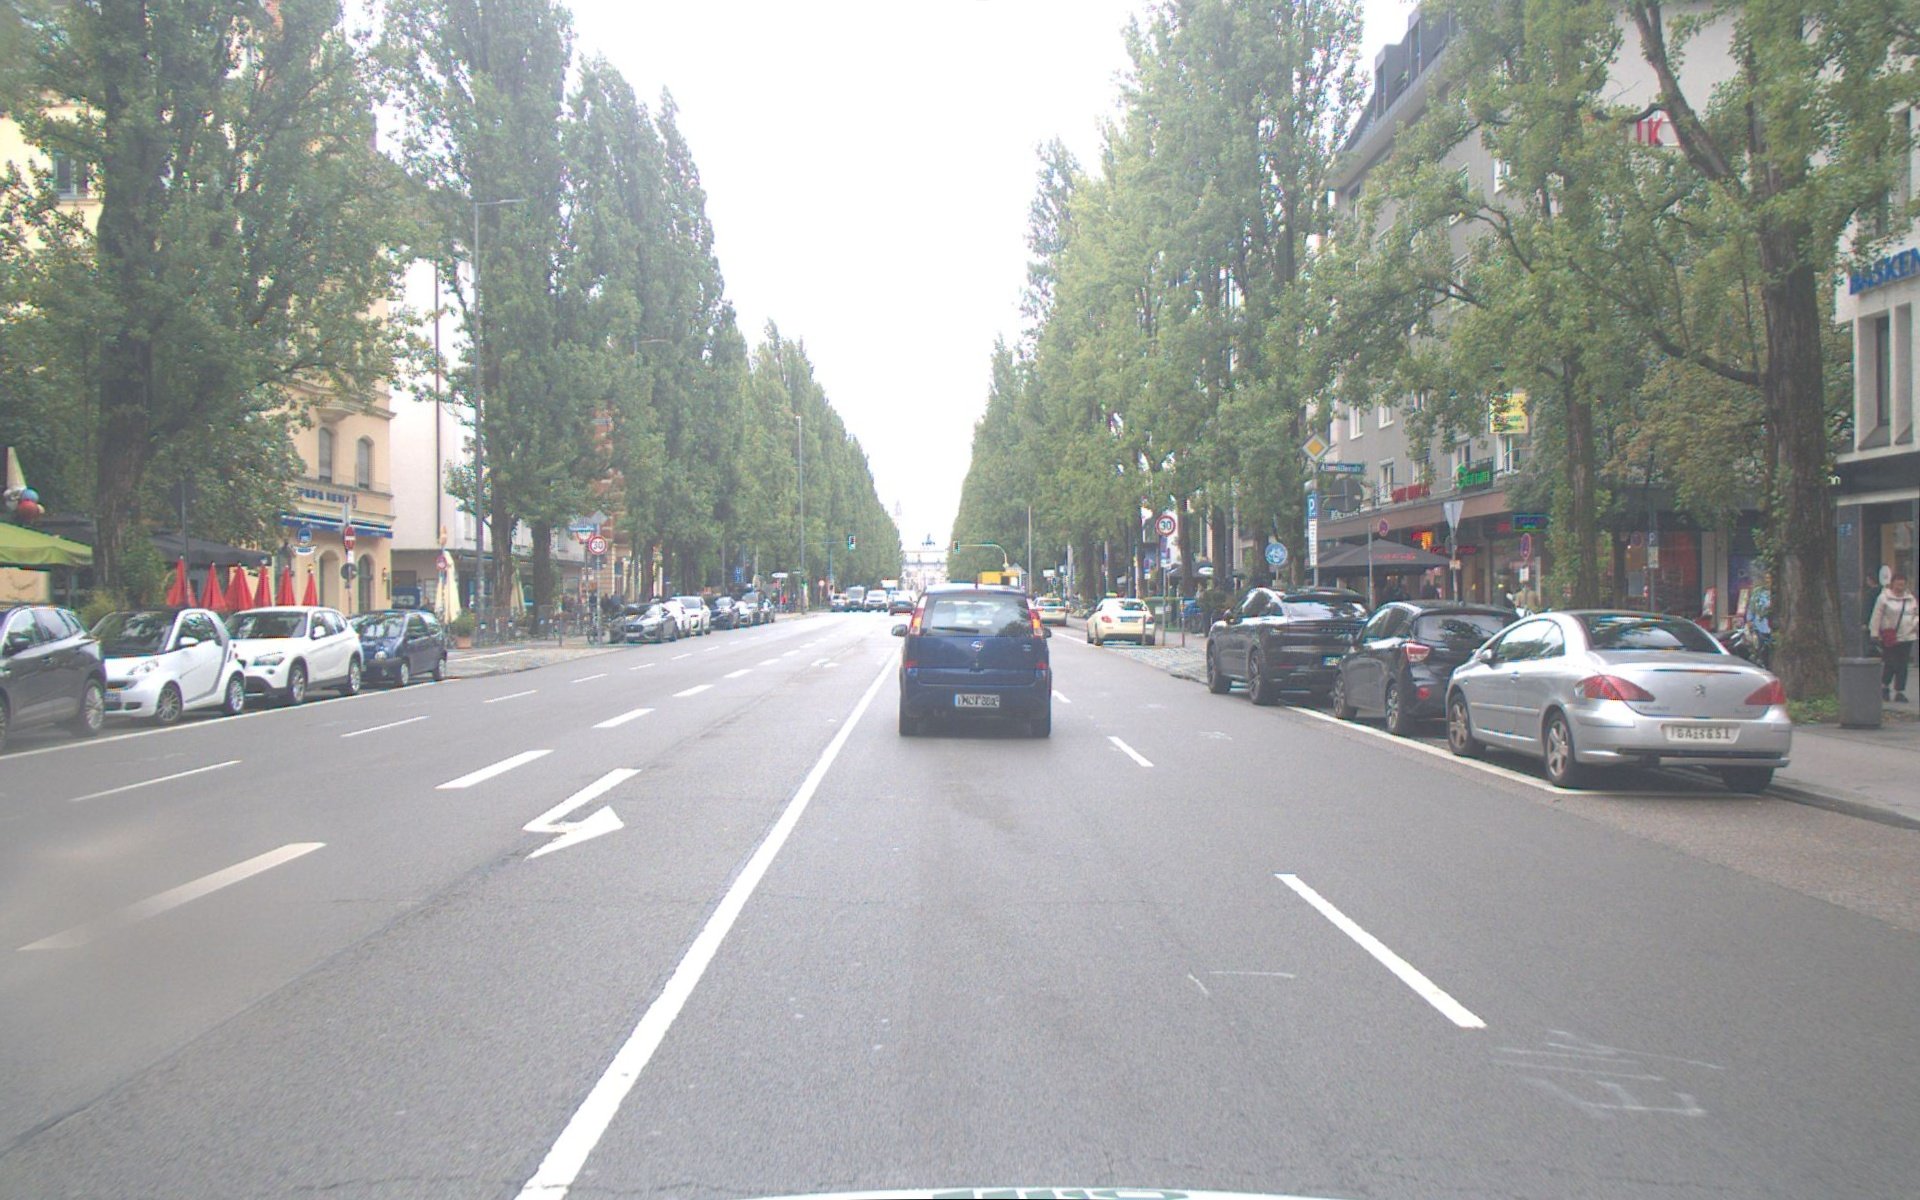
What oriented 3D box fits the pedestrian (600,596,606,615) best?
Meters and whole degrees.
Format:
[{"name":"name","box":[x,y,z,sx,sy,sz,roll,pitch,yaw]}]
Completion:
[{"name":"pedestrian","box":[-21.365,0.333,98.994,0.283,1.109,0.258,-1,0,4]}]

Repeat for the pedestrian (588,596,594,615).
[{"name":"pedestrian","box":[-22.077,0.325,98.946,0.283,1.109,0.258,-1,0,4]}]

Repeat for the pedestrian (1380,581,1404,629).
[{"name":"pedestrian","box":[13.933,0.157,53.400,0.627,1.553,0.484,-1,0,-1]}]

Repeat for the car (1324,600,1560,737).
[{"name":"car","box":[5.601,0.743,19.649,1.648,1.439,3.581,1,0,-2]}]

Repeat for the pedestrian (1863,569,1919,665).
[{"name":"pedestrian","box":[16.333,0.287,28.954,0.641,1.655,0.704,-1,0,-4]}]

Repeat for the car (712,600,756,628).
[{"name":"car","box":[-12.043,0.713,88.321,1.922,1.424,3.777,-1,0,-2]}]

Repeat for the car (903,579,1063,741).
[{"name":"car","box":[0.172,0.605,19.084,1.647,1.670,3.998,0,0,-2]}]

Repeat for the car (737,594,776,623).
[{"name":"car","box":[-12.193,0.485,99.163,1.953,1.691,3.999,-1,0,-2]}]

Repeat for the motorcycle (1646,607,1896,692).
[{"name":"motorcycle","box":[11.473,0.683,23.449,3.061,1.109,1.191,-1,0,-9]}]

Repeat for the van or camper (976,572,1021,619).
[{"name":"van or camper","box":[2.209,-0.259,96.841,2.426,2.626,5.843,-1,0,-1]}]

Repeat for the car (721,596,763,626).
[{"name":"car","box":[-12.183,0.606,92.704,1.922,1.576,3.777,-1,0,-2]}]

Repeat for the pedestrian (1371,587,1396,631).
[{"name":"pedestrian","box":[14.674,0.317,57.369,0.670,1.494,0.678,-1,0,-1]}]

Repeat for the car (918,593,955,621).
[{"name":"car","box":[-1.329,0.376,92.896,1.953,1.524,3.998,-1,0,-2]}]

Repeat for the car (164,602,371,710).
[{"name":"car","box":[-11.107,0.837,26.844,1.798,1.573,4.084,-1,0,-3]}]

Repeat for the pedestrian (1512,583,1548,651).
[{"name":"pedestrian","box":[15.046,0.450,43.672,0.640,1.781,0.859,1,0,-1]}]

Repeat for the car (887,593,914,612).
[{"name":"car","box":[-4.488,0.176,125.231,1.922,1.424,3.777,-1,0,-2]}]

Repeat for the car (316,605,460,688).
[{"name":"car","box":[-11.026,0.861,32.086,1.553,1.472,3.391,-1,0,1]}]

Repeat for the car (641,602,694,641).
[{"name":"car","box":[-11.535,0.832,65.426,1.515,1.478,3.456,-1,0,-1]}]

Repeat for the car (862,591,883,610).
[{"name":"car","box":[-7.848,0.029,149.168,1.798,1.706,3.777,-1,0,-2]}]

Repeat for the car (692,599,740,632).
[{"name":"car","box":[-12.112,0.739,82.214,1.922,1.557,3.998,-1,0,-3]}]

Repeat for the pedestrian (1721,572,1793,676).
[{"name":"pedestrian","box":[12.893,0.381,26.776,0.725,1.655,0.761,1,-1,-22]}]

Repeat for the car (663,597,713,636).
[{"name":"car","box":[-11.530,0.698,70.225,1.620,1.589,3.456,-1,0,-1]}]

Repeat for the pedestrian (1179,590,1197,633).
[{"name":"pedestrian","box":[8.942,0.450,64.950,0.640,1.655,0.705,1,0,4]}]

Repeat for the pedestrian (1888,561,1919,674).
[{"name":"pedestrian","box":[15.407,0.277,26.367,0.713,1.781,0.859,1,0,-4]}]

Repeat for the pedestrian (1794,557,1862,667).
[{"name":"pedestrian","box":[14.762,0.203,28.144,0.777,1.843,0.682,-1,0,-3]}]

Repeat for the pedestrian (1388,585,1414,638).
[{"name":"pedestrian","box":[13.022,0.333,48.815,0.627,1.553,0.484,-1,0,-1]}]

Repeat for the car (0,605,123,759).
[{"name":"car","box":[-11.107,0.882,18.424,1.805,1.592,4.174,-1,0,-7]}]

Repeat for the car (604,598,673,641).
[{"name":"car","box":[-11.497,0.669,59.334,1.793,1.445,3.810,-1,0,-1]}]

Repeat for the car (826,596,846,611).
[{"name":"car","box":[-13.395,0.357,179.206,1.922,1.576,3.777,-1,0,-2]}]

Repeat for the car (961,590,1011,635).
[{"name":"car","box":[0.956,0.443,62.370,1.672,1.601,3.999,-1,1,-2]}]

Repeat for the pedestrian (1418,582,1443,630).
[{"name":"pedestrian","box":[15.258,0.191,53.627,0.627,1.553,0.484,-1,0,-1]}]

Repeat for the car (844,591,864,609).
[{"name":"car","box":[-10.378,0.012,161.881,1.798,1.769,3.777,-1,0,-2]}]

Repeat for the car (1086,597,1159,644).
[{"name":"car","box":[5.030,0.616,51.645,1.858,1.386,3.899,-1,0,-1]}]

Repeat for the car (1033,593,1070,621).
[{"name":"car","box":[4.765,0.351,86.171,1.635,1.376,4.103,-1,0,-1]}]

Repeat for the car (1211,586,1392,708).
[{"name":"car","box":[4.969,0.635,24.592,1.761,1.621,4.103,1,0,-1]}]

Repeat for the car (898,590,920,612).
[{"name":"car","box":[-4.221,0.046,137.691,1.798,1.792,3.777,-1,0,-2]}]

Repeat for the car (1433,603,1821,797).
[{"name":"car","box":[5.651,0.763,14.595,1.636,1.431,4.126,1,0,-2]}]

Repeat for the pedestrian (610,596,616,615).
[{"name":"pedestrian","box":[-21.008,0.344,100.123,0.283,1.109,0.258,-1,0,4]}]

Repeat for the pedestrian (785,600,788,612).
[{"name":"pedestrian","box":[-15.898,0.562,151.568,0.252,1.109,0.290,-1,0,4]}]

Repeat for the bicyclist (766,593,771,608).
[{"name":"bicyclist","box":[-22.619,0.010,195.607,0.607,1.743,0.563,-1,0,-8]}]

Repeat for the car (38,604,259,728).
[{"name":"car","box":[-11.113,0.862,22.849,1.540,1.561,2.923,-1,0,1]}]

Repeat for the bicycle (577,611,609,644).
[{"name":"bicycle","box":[-11.921,0.889,53.772,0.652,1.023,2.460,-1,0,-4]}]

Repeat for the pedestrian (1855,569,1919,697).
[{"name":"pedestrian","box":[12.153,0.429,21.515,0.640,1.629,0.704,1,0,-1]}]

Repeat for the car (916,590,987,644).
[{"name":"car","box":[-0.292,0.464,49.118,1.953,1.523,3.998,-1,0,-2]}]
